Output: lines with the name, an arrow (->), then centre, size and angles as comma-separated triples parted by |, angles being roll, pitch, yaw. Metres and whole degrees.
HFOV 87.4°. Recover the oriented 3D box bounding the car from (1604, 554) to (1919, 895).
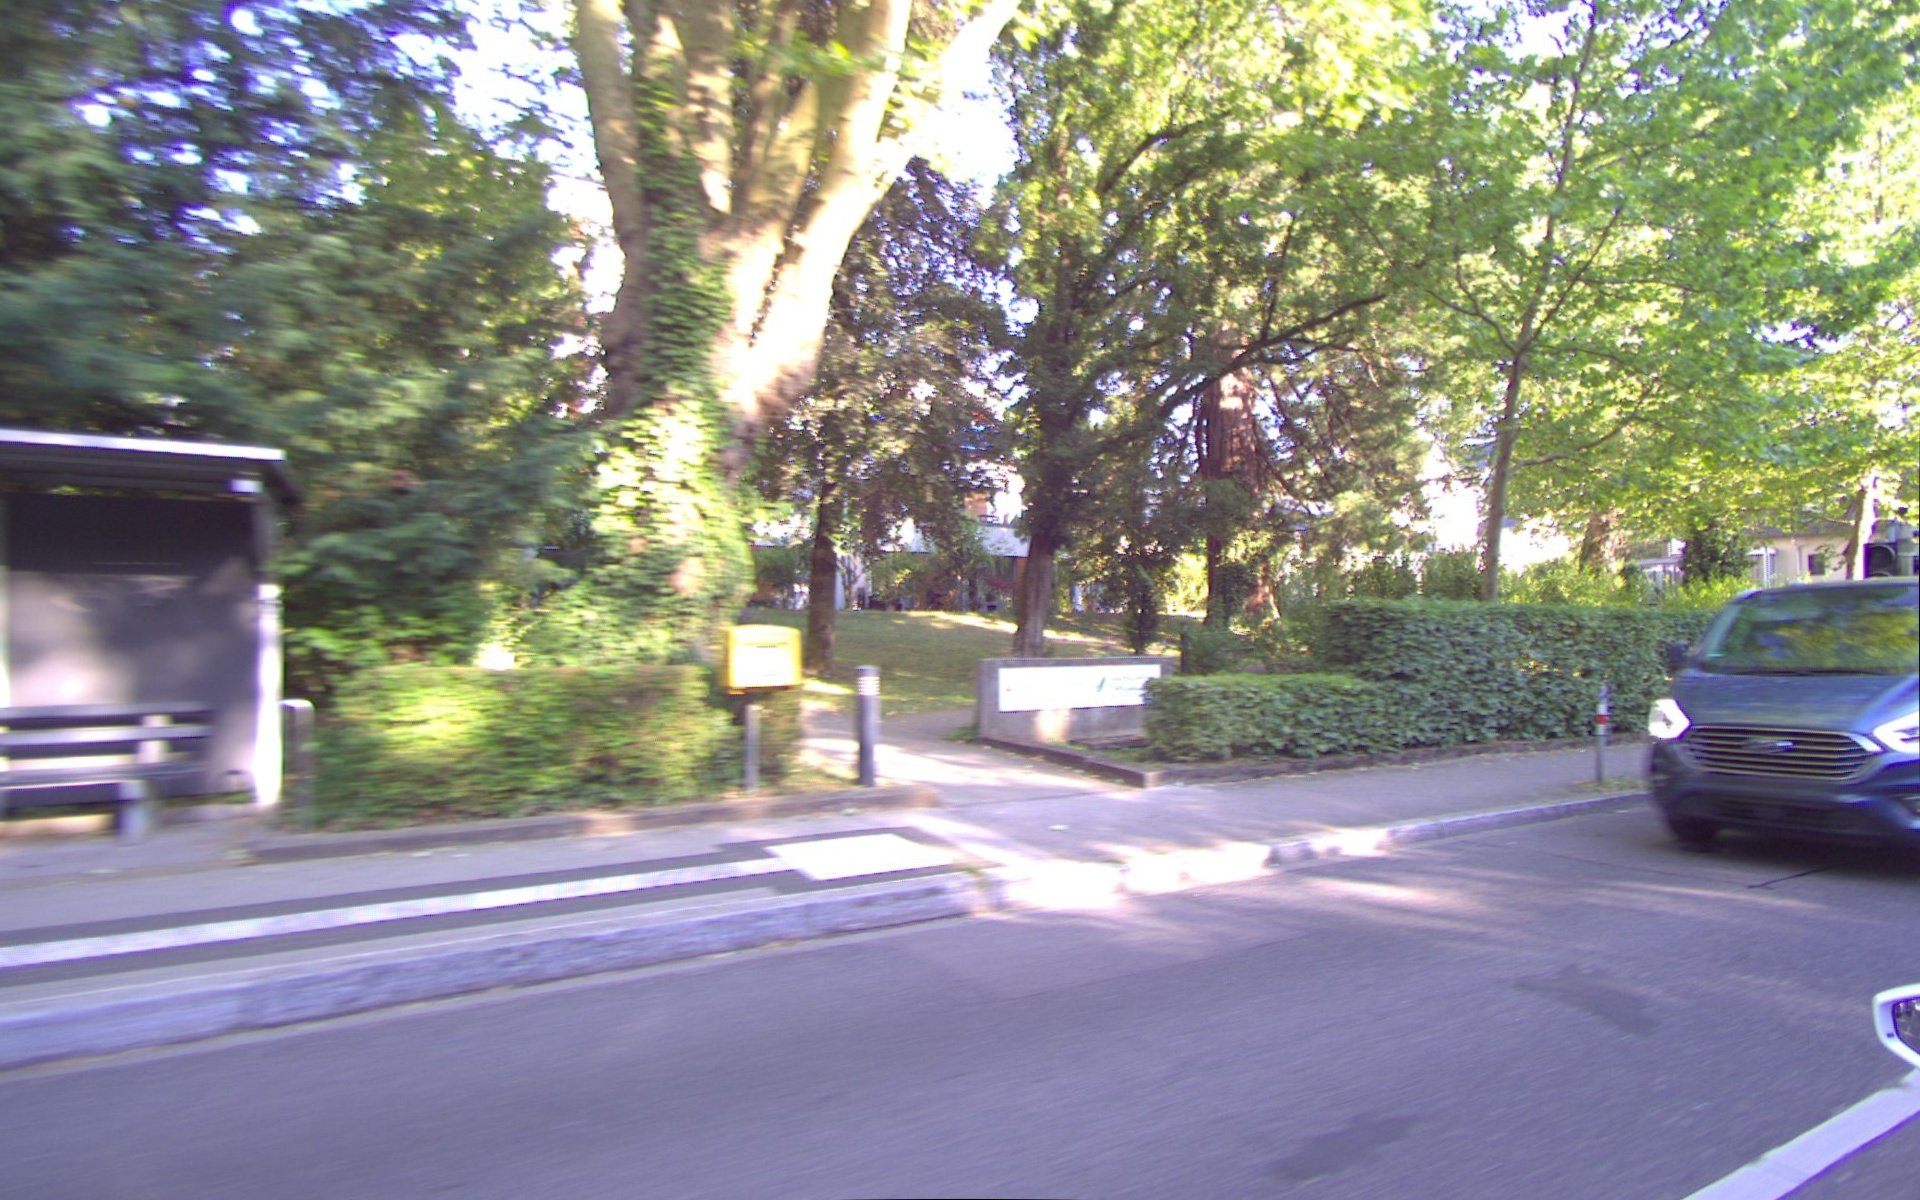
car -> 7.250, 0.814, 7.732 | 4.724, 1.994, 1.983 | 1, -4, -32
